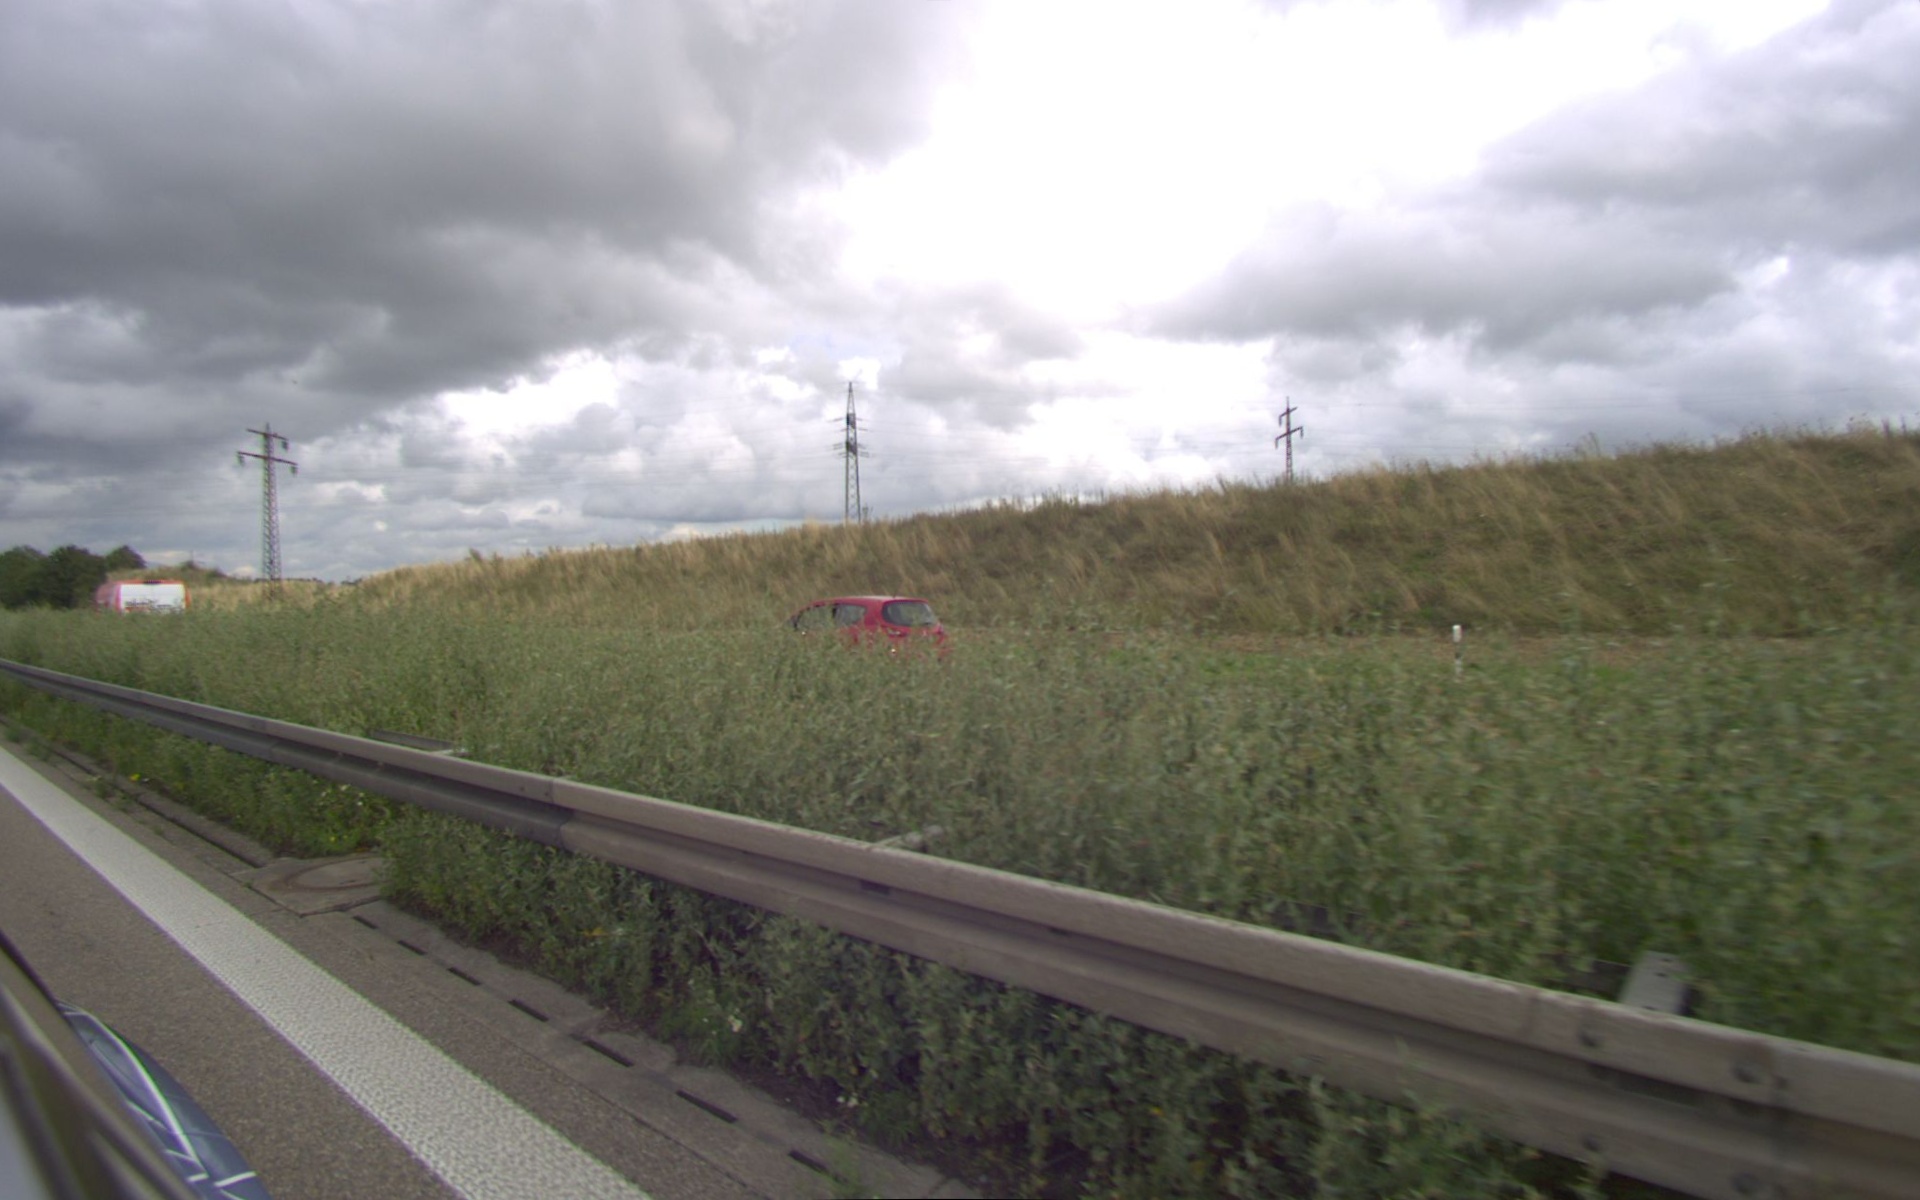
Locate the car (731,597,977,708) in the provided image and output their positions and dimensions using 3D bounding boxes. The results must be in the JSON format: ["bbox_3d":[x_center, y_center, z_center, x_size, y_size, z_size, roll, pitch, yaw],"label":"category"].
[{"bbox_3d":[-1.800,0.760,16.415,3.998,1.567,1.714,-1,0,41],"label":"car"}]

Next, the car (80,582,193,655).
[{"bbox_3d":[-27.782,0.595,34.079,5.451,2.284,2.101,-1,0,42],"label":"car"}]
